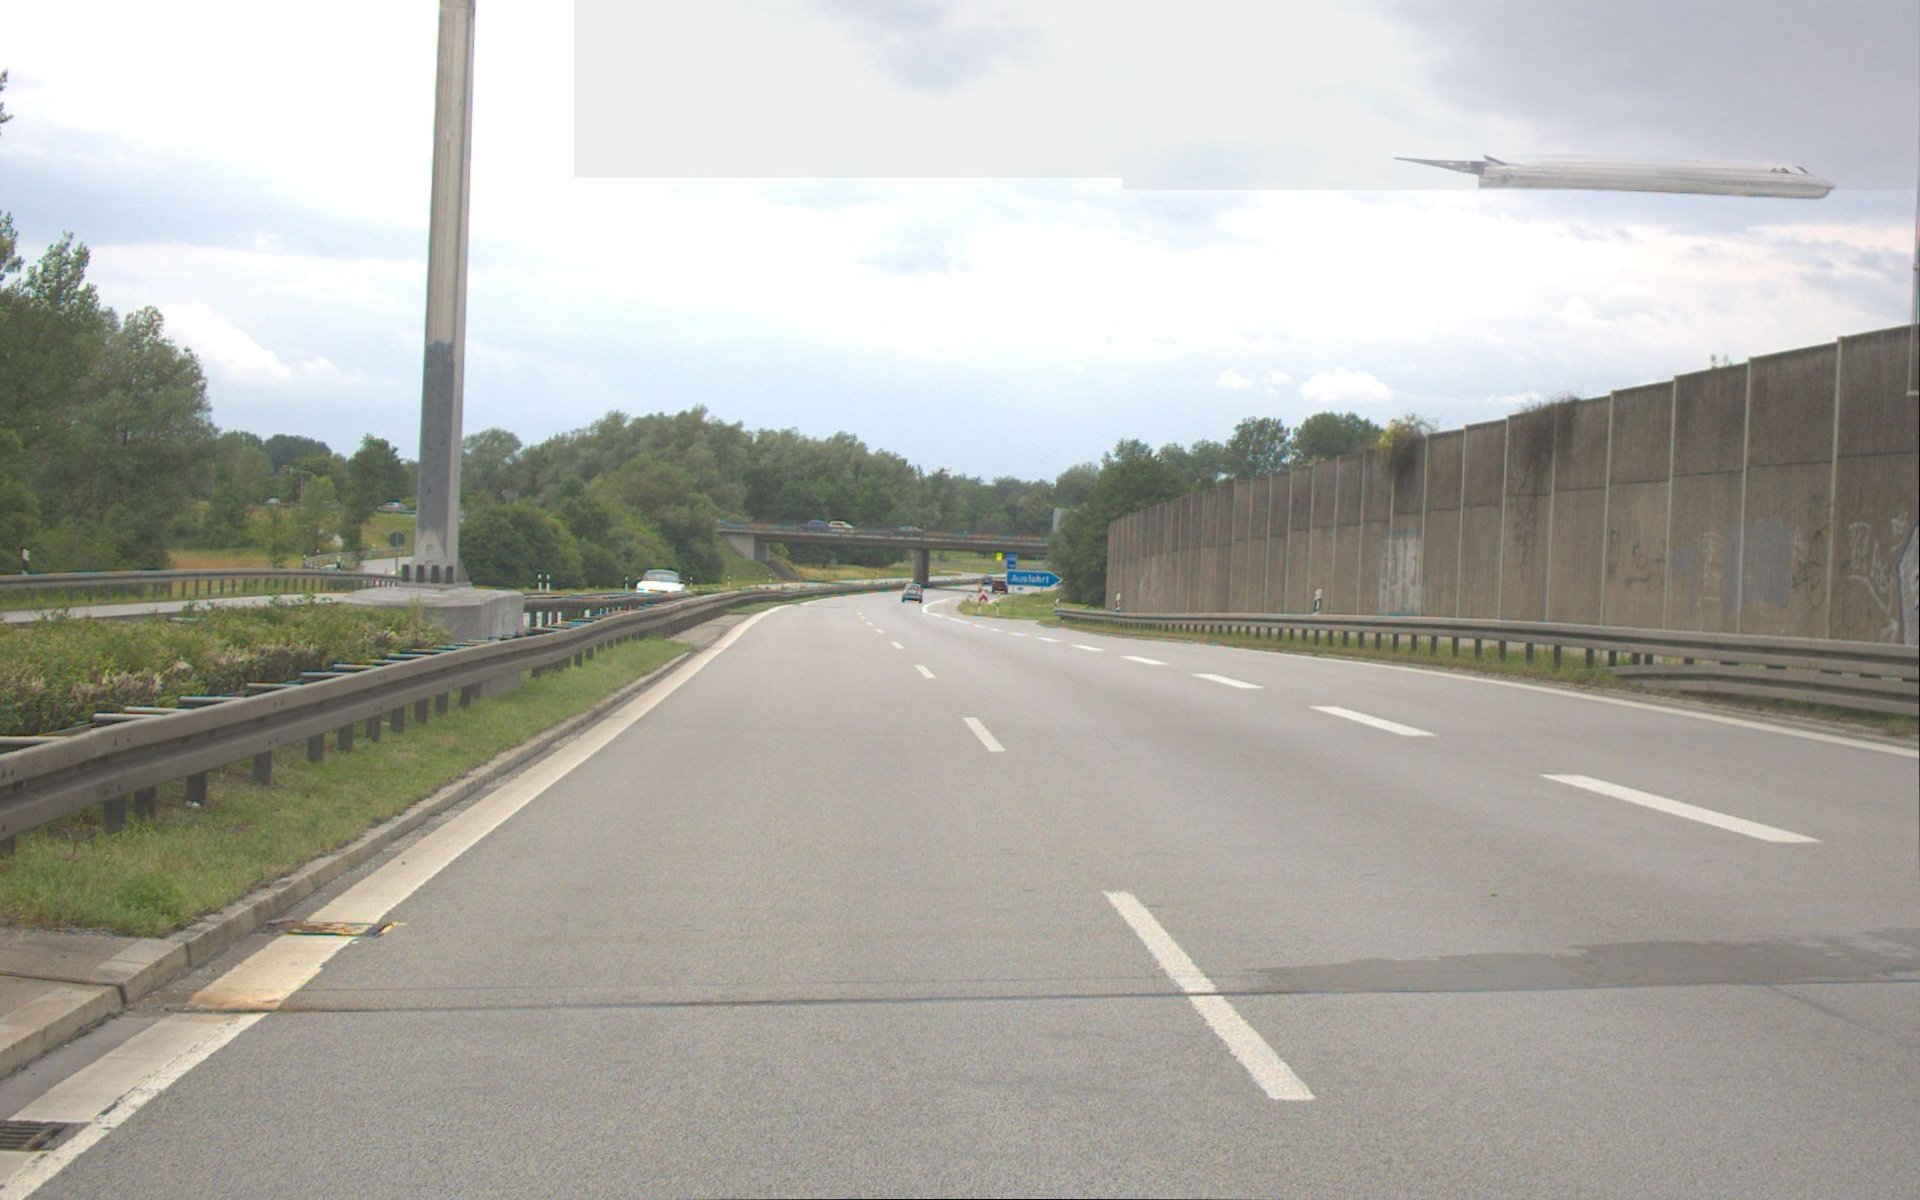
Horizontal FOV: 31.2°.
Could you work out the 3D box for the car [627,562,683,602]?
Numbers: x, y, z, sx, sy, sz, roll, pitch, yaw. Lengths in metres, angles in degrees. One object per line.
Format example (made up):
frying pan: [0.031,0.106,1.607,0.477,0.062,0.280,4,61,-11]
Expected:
car: [-13.049,-0.777,147.265,1.993,1.609,5.028,2,0,-1]
